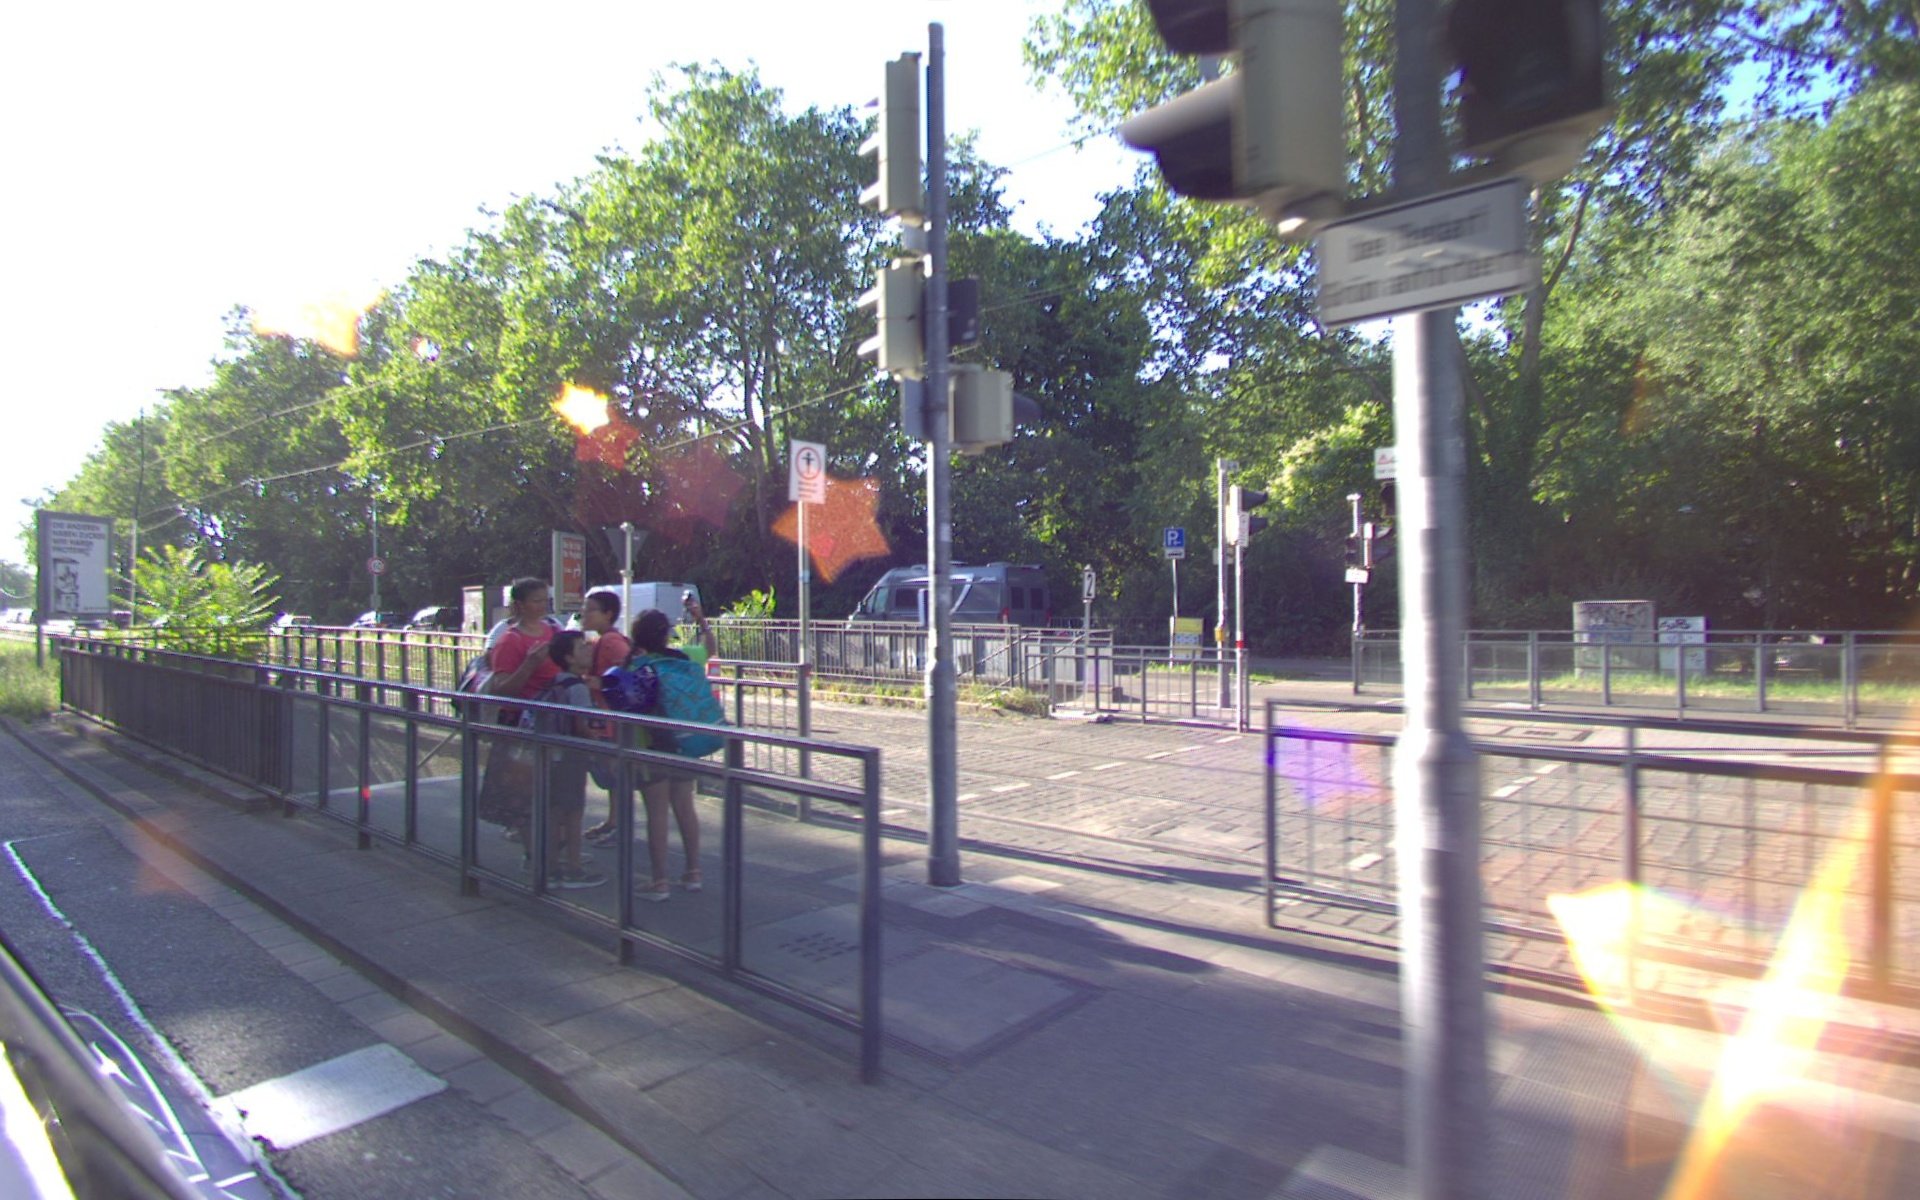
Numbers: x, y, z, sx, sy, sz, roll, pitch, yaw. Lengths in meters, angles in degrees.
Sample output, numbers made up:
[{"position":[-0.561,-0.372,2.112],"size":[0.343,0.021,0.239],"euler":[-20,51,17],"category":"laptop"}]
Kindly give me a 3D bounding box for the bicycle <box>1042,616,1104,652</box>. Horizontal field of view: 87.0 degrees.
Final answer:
[{"position":[3.333,1.001,30.077],"size":[1.863,1.037,0.575],"euler":[-1,-1,43],"category":"bicycle"}]

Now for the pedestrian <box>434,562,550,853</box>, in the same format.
[{"position":[-2.675,0.593,5.825],"size":[0.512,1.580,0.509],"euler":[2,-2,-19],"category":"pedestrian"}]

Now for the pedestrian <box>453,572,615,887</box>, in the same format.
[{"position":[-2.237,0.643,5.328],"size":[0.514,1.531,0.583],"euler":[-1,-3,41],"category":"pedestrian"}]

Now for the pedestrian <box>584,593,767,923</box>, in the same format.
[{"position":[-1.313,0.688,4.737],"size":[0.555,1.417,0.587],"euler":[0,-2,20],"category":"pedestrian"}]

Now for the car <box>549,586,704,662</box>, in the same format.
[{"position":[-12.052,0.845,36.330],"size":[6.263,2.540,2.163],"euler":[0,-2,38],"category":"car"}]

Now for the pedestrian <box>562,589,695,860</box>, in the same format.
[{"position":[-1.938,0.695,5.924],"size":[0.514,1.483,0.514],"euler":[-1,-3,42],"category":"pedestrian"}]

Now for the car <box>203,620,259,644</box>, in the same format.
[{"position":[-46.430,2.020,64.439],"size":[4.319,1.448,1.809],"euler":[0,-2,39],"category":"car"}]

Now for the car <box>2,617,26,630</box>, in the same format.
[{"position":[-116.957,2.863,125.062],"size":[3.921,1.511,1.638],"euler":[0,-2,39],"category":"car"}]

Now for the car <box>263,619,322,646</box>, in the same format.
[{"position":[-38.193,1.840,57.847],"size":[3.848,1.448,1.722],"euler":[0,-2,39],"category":"car"}]

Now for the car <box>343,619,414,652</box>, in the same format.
[{"position":[-28.811,1.740,50.097],"size":[3.878,1.567,1.722],"euler":[0,-2,39],"category":"car"}]

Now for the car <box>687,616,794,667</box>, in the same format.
[{"position":[-7.016,1.294,32.305],"size":[3.261,1.524,1.636],"euler":[0,-2,38],"category":"car"}]

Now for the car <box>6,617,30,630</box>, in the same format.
[{"position":[-112.984,2.789,121.391],"size":[3.782,1.453,1.637],"euler":[-1,-2,40],"category":"car"}]

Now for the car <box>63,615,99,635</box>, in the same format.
[{"position":[-83.190,2.375,95.804],"size":[4.390,1.854,1.809],"euler":[0,-2,39],"category":"car"}]

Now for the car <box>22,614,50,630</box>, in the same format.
[{"position":[-104.458,2.469,114.388],"size":[3.896,1.753,1.713],"euler":[0,-2,39],"category":"car"}]

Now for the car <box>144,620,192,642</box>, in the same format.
[{"position":[-57.161,2.224,73.033],"size":[4.390,1.517,1.809],"euler":[0,-2,39],"category":"car"}]

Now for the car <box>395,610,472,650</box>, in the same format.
[{"position":[-24.164,1.354,46.387],"size":[3.878,1.741,1.722],"euler":[0,-2,39],"category":"car"}]

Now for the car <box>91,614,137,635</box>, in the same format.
[{"position":[-71.265,2.075,85.235],"size":[4.384,1.732,1.811],"euler":[0,-2,35],"category":"car"}]

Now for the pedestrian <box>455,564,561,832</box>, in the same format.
[{"position":[-2.799,0.589,6.304],"size":[0.512,1.580,0.509],"euler":[2,-2,-19],"category":"pedestrian"}]

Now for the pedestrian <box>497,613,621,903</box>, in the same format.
[{"position":[-1.951,0.733,4.934],"size":[0.359,1.331,0.411],"euler":[-1,-3,41],"category":"pedestrian"}]

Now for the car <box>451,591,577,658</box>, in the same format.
[{"position":[-18.238,0.971,41.228],"size":[6.044,2.540,2.162],"euler":[0,-2,39],"category":"car"}]

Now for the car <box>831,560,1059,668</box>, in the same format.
[{"position":[-0.517,0.376,26.592],"size":[6.027,2.540,2.162],"euler":[0,-2,39],"category":"car"}]
